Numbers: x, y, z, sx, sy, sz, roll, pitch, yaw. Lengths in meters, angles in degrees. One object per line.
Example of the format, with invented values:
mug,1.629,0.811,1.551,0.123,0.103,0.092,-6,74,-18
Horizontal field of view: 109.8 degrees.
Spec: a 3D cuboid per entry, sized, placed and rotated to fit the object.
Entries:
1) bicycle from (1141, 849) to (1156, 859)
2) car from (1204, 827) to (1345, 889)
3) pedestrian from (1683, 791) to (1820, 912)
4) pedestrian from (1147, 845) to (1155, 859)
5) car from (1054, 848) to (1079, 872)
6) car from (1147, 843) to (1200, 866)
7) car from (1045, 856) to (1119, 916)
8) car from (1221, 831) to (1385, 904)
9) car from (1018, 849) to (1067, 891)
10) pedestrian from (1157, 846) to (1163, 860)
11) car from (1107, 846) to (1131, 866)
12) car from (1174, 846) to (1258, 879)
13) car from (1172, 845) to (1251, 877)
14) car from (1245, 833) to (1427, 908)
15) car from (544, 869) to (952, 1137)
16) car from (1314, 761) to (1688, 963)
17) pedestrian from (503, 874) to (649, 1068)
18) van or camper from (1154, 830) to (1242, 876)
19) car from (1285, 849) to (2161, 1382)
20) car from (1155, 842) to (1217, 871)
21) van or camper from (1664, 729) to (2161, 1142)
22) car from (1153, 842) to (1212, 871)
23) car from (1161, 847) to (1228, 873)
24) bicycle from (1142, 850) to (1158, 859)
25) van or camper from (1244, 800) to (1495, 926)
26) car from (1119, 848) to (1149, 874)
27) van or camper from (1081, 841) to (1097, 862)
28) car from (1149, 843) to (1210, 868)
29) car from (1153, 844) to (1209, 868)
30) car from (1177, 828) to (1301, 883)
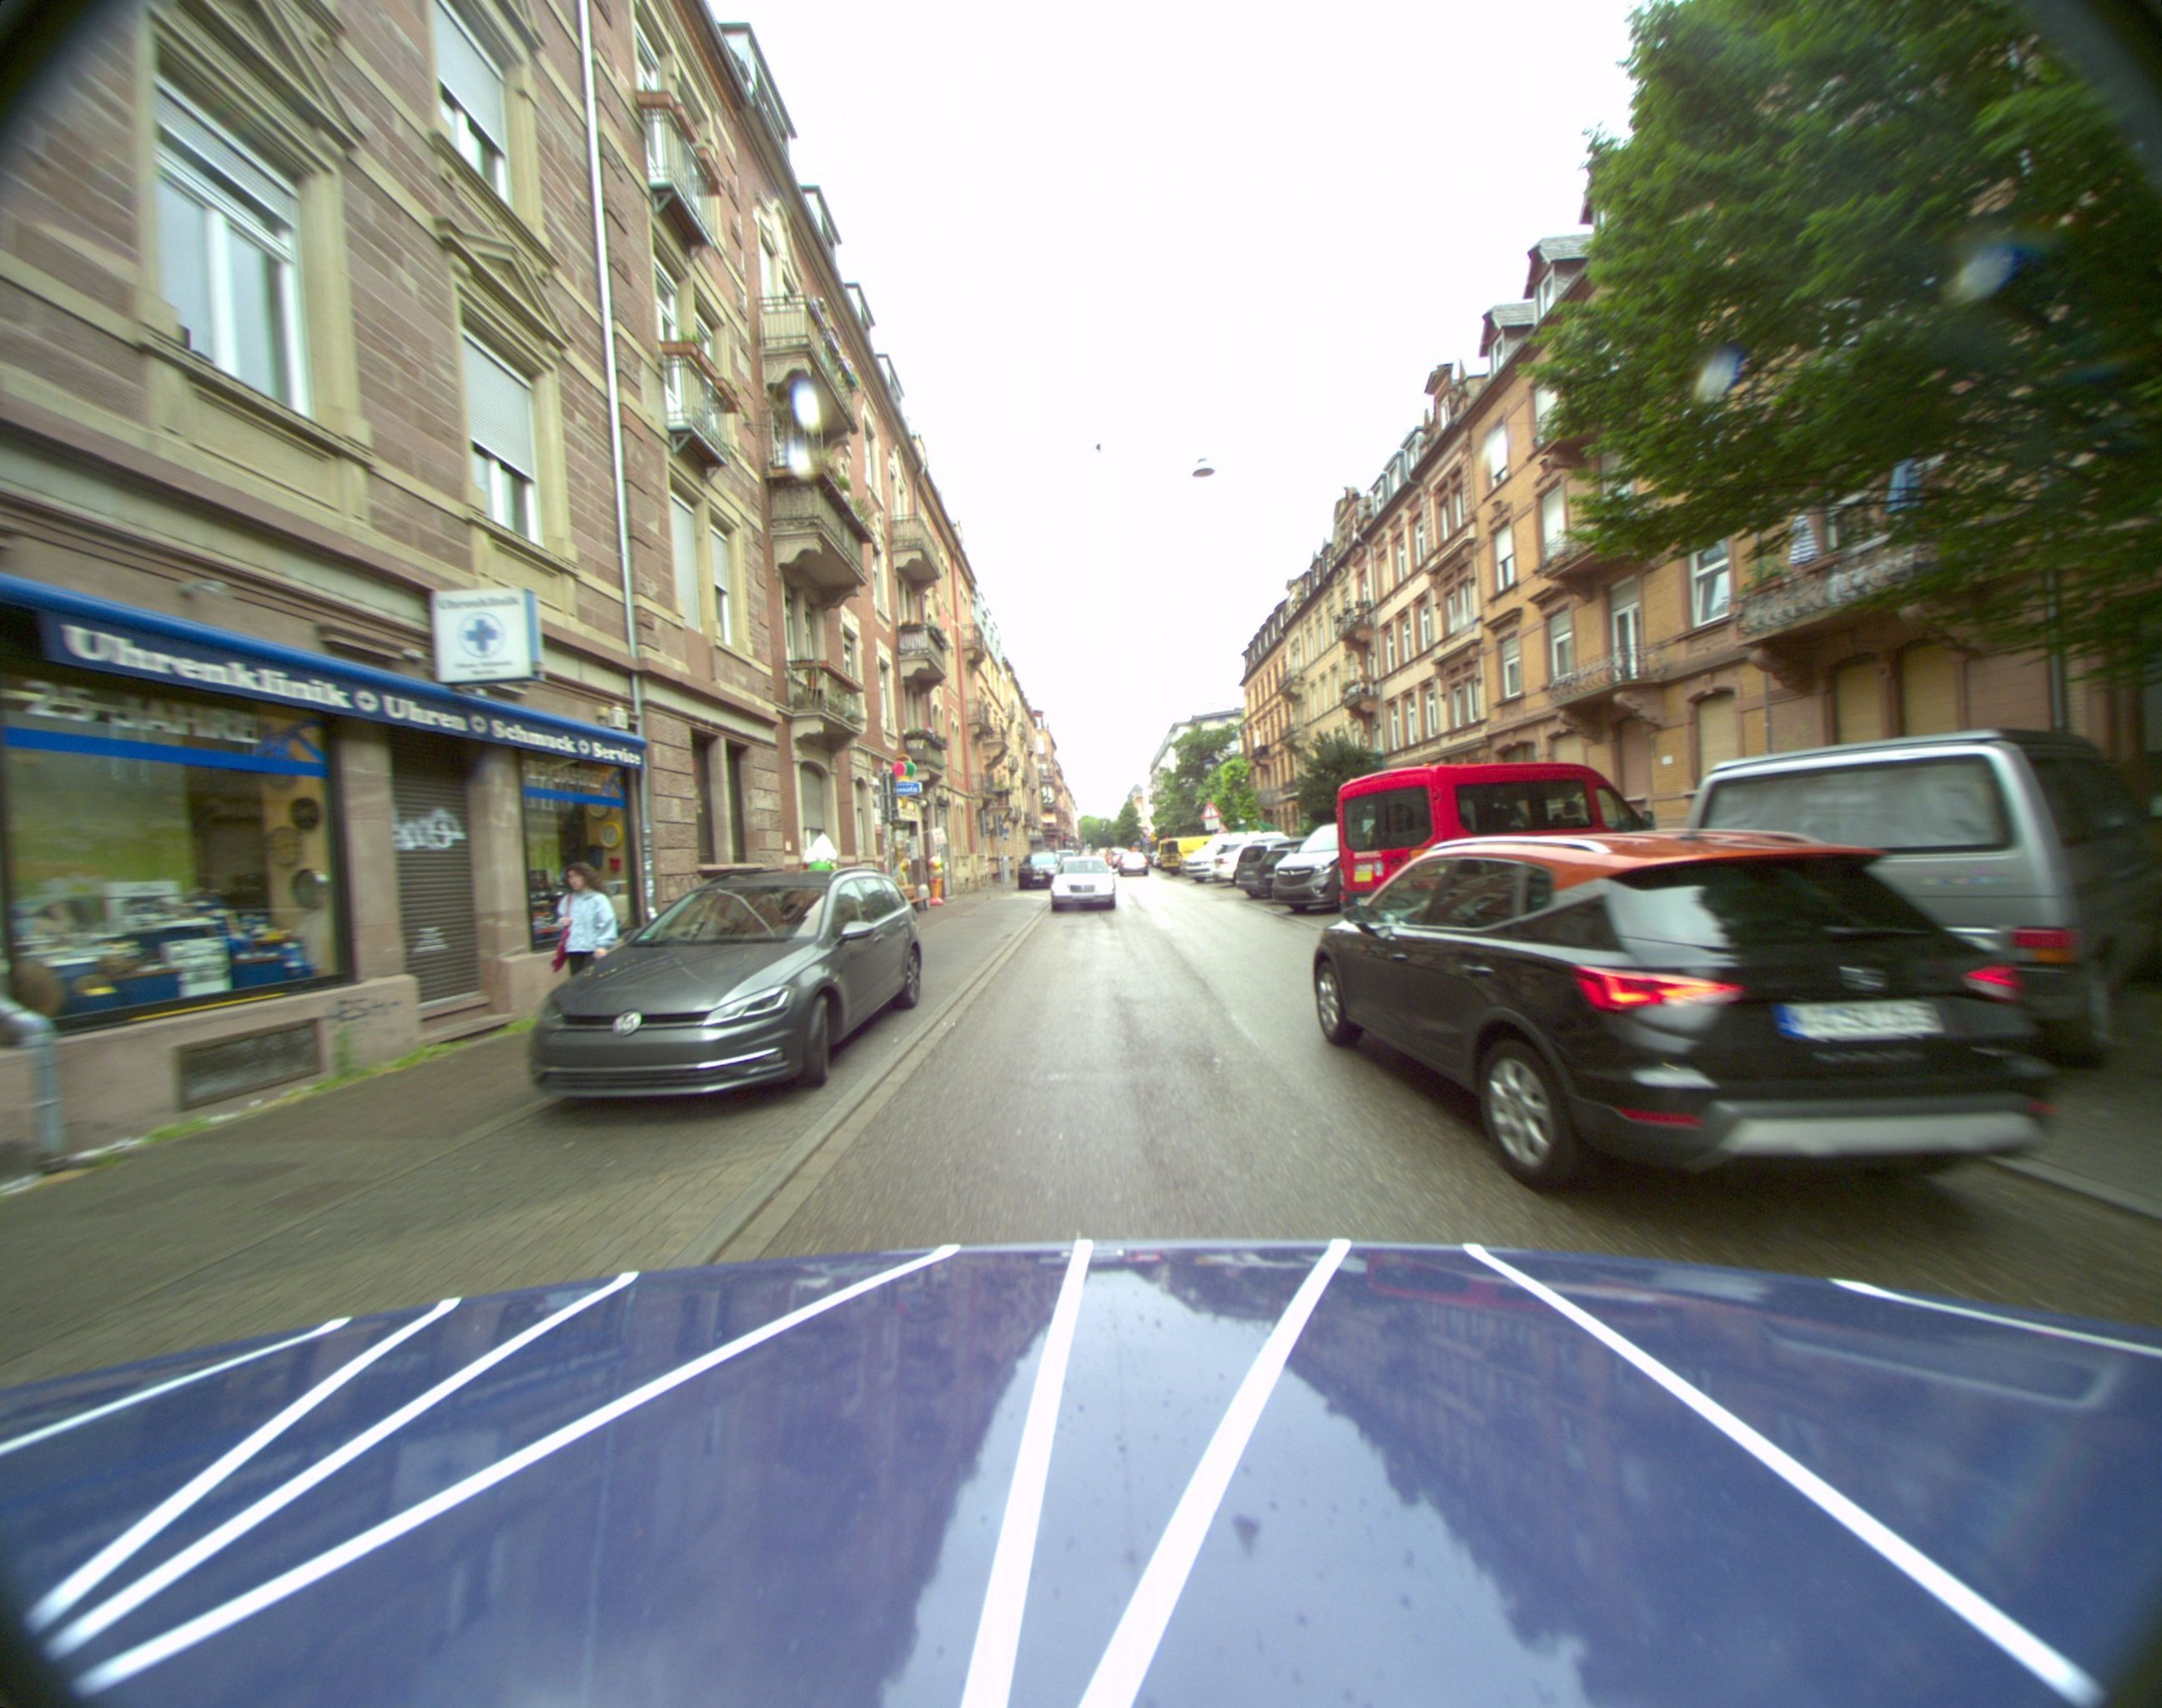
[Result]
bicycle,9.370,0.005,105.659,2.021,1.188,0.551,-7,0,7
car,7.239,0.140,28.882,4.590,1.775,2.545,-6,0,1
pedestrian,9.980,-0.032,11.354,0.903,1.620,1.089,-7,1,-4
pedestrian,9.410,-0.301,101.814,0.862,1.837,0.770,-4,0,10
car,-1.295,0.524,66.443,1.999,1.928,5.229,-2,1,-1
car,8.282,0.039,68.012,4.464,1.555,1.995,-6,3,-35
car,0.150,0.862,22.493,1.859,1.390,4.980,-4,1,3
car,6.633,0.371,22.671,4.449,1.621,1.841,-6,1,-25
car,-1.770,0.717,36.565,1.998,1.769,4.826,-3,1,0
pedestrian,10.473,-0.150,100.488,0.604,1.837,0.770,-4,0,10
car,3.357,0.152,67.842,1.863,1.650,5.008,-3,0,1
car,7.070,0.440,39.716,4.004,1.427,1.781,-4,1,-27
car,7.329,0.373,42.610,3.924,1.486,1.959,-4,1,-29
car,6.778,0.404,20.216,4.360,1.496,1.752,-6,0,-21
car,-2.495,1.008,6.923,1.845,1.536,4.003,-3,1,0
car,6.671,-0.006,11.959,5.579,2.526,2.225,-4,0,-26
pedestrian,-4.540,1.012,6.887,0.680,1.604,0.810,-3,1,2
van or camper,7.057,-0.056,45.658,4.732,2.254,2.180,-6,0,-31
car,2.624,0.799,4.360,1.674,1.550,4.002,-3,1,-1
car,7.535,0.169,54.392,4.143,1.653,1.797,-7,3,-35
van or camper,6.381,0.231,5.563,4.453,1.964,1.778,-7,2,-31
car,7.729,0.188,57.551,4.143,1.652,1.797,-7,2,-35
car,7.313,0.393,48.888,4.006,1.486,1.823,-2,0,-30
bicycle,9.215,0.109,101.739,1.895,1.028,0.661,-6,0,-13
van or camper,6.544,0.141,17.244,5.031,2.335,2.340,-4,0,-25
car,3.531,0.445,50.837,1.799,1.485,4.584,-4,0,3
van or camper,1.251,-0.428,128.910,2.411,3.308,7.073,-4,0,0
car,8.212,0.104,63.193,4.731,1.554,1.996,-6,0,-33
car,8.000,0.173,60.568,4.143,1.485,1.797,-7,3,-34
car,7.145,0.030,34.313,5.258,2.066,1.867,-4,1,-23
